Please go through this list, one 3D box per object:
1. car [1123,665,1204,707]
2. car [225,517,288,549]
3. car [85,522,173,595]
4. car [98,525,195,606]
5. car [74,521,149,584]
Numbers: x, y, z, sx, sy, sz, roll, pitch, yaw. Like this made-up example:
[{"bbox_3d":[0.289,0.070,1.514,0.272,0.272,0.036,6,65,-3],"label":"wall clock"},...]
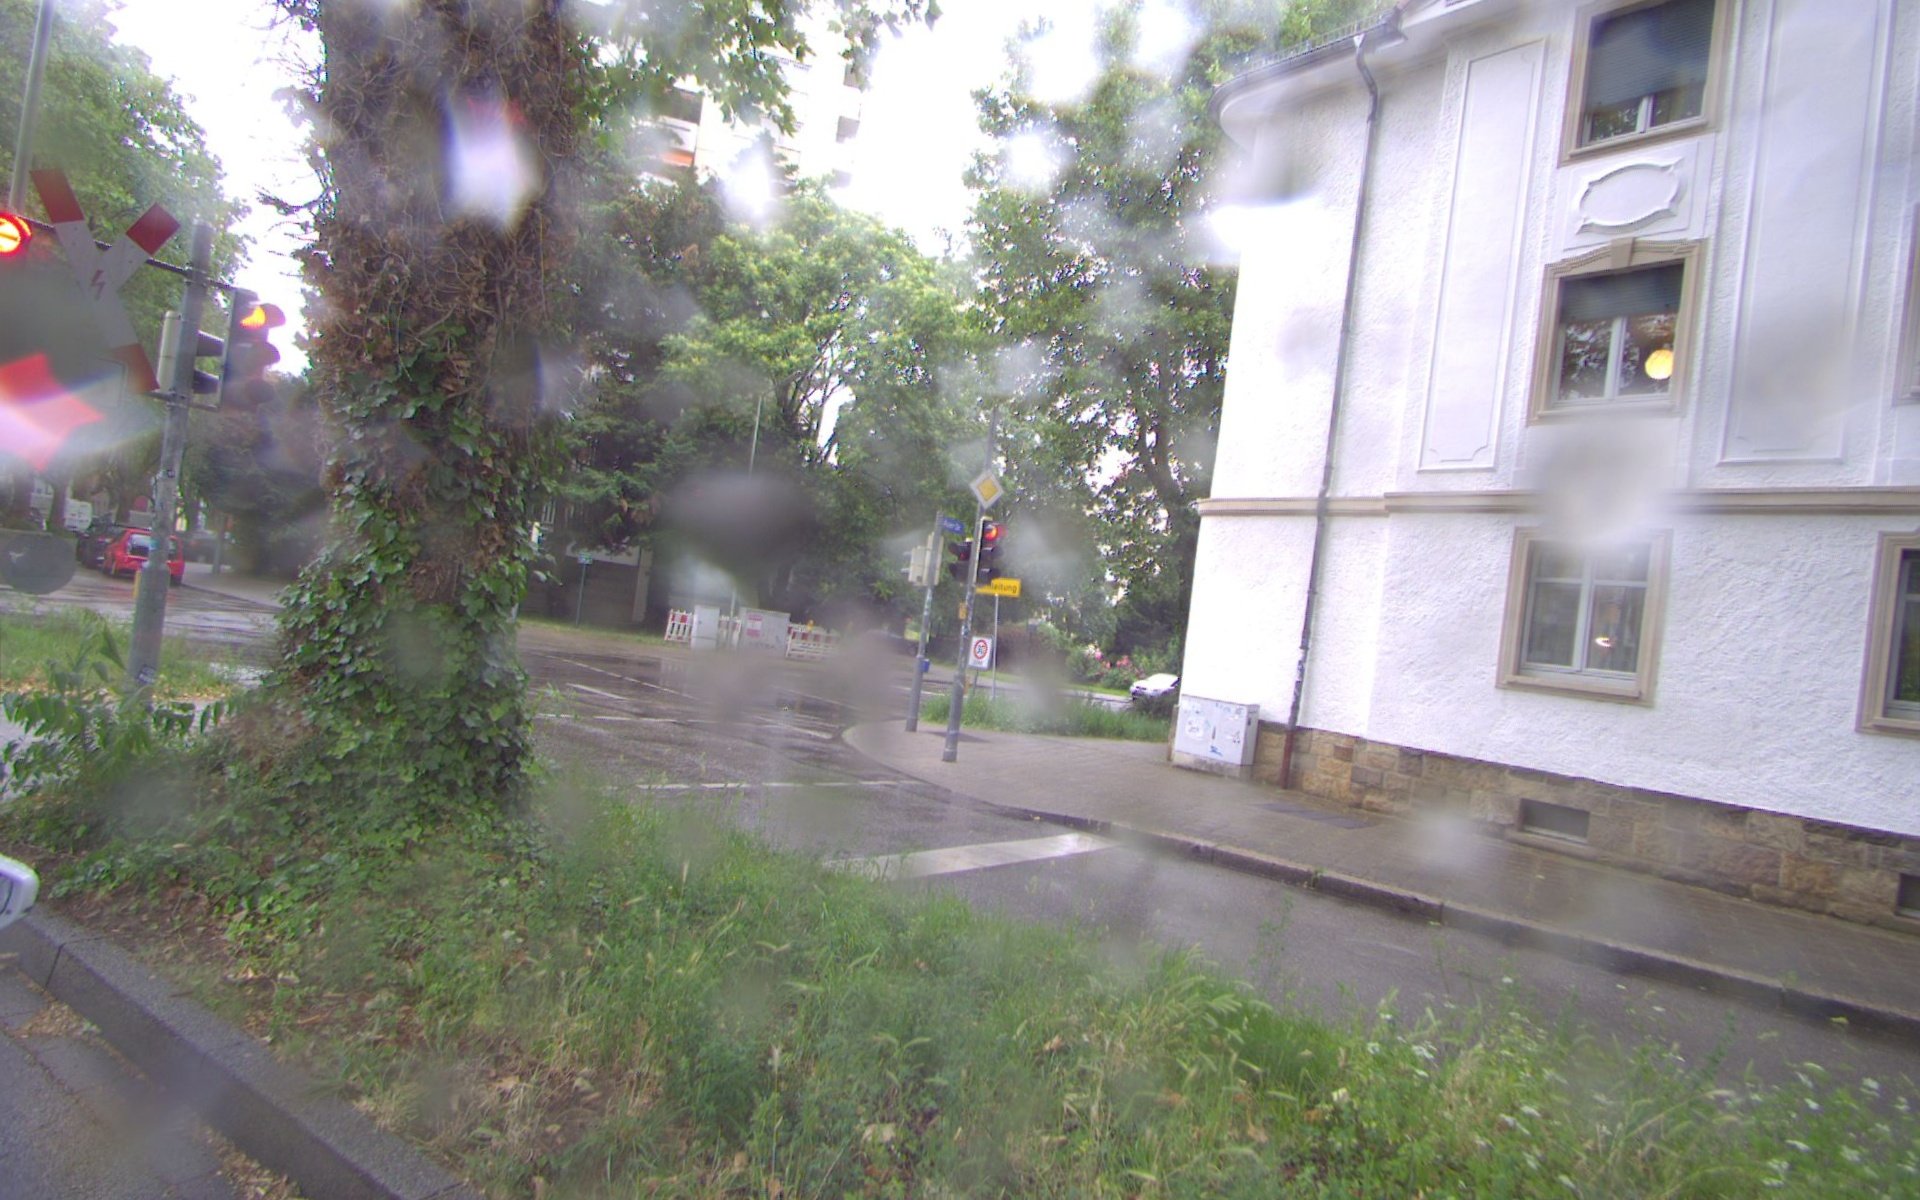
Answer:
[{"bbox_3d":[9.270,3.911,45.627,3.630,1.504,1.704,8,0,-43],"label":"car"},{"bbox_3d":[-57.177,-5.445,81.834,3.969,2.038,1.689,7,0,-39],"label":"car"},{"bbox_3d":[-27.987,-1.441,33.847,1.986,2.038,3.953,7,0,-42],"label":"car"},{"bbox_3d":[-24.835,-1.078,30.665,1.986,2.038,3.953,7,0,-42],"label":"car"},{"bbox_3d":[-32.883,-1.859,38.949,1.986,2.038,3.953,7,0,-42],"label":"car"}]
